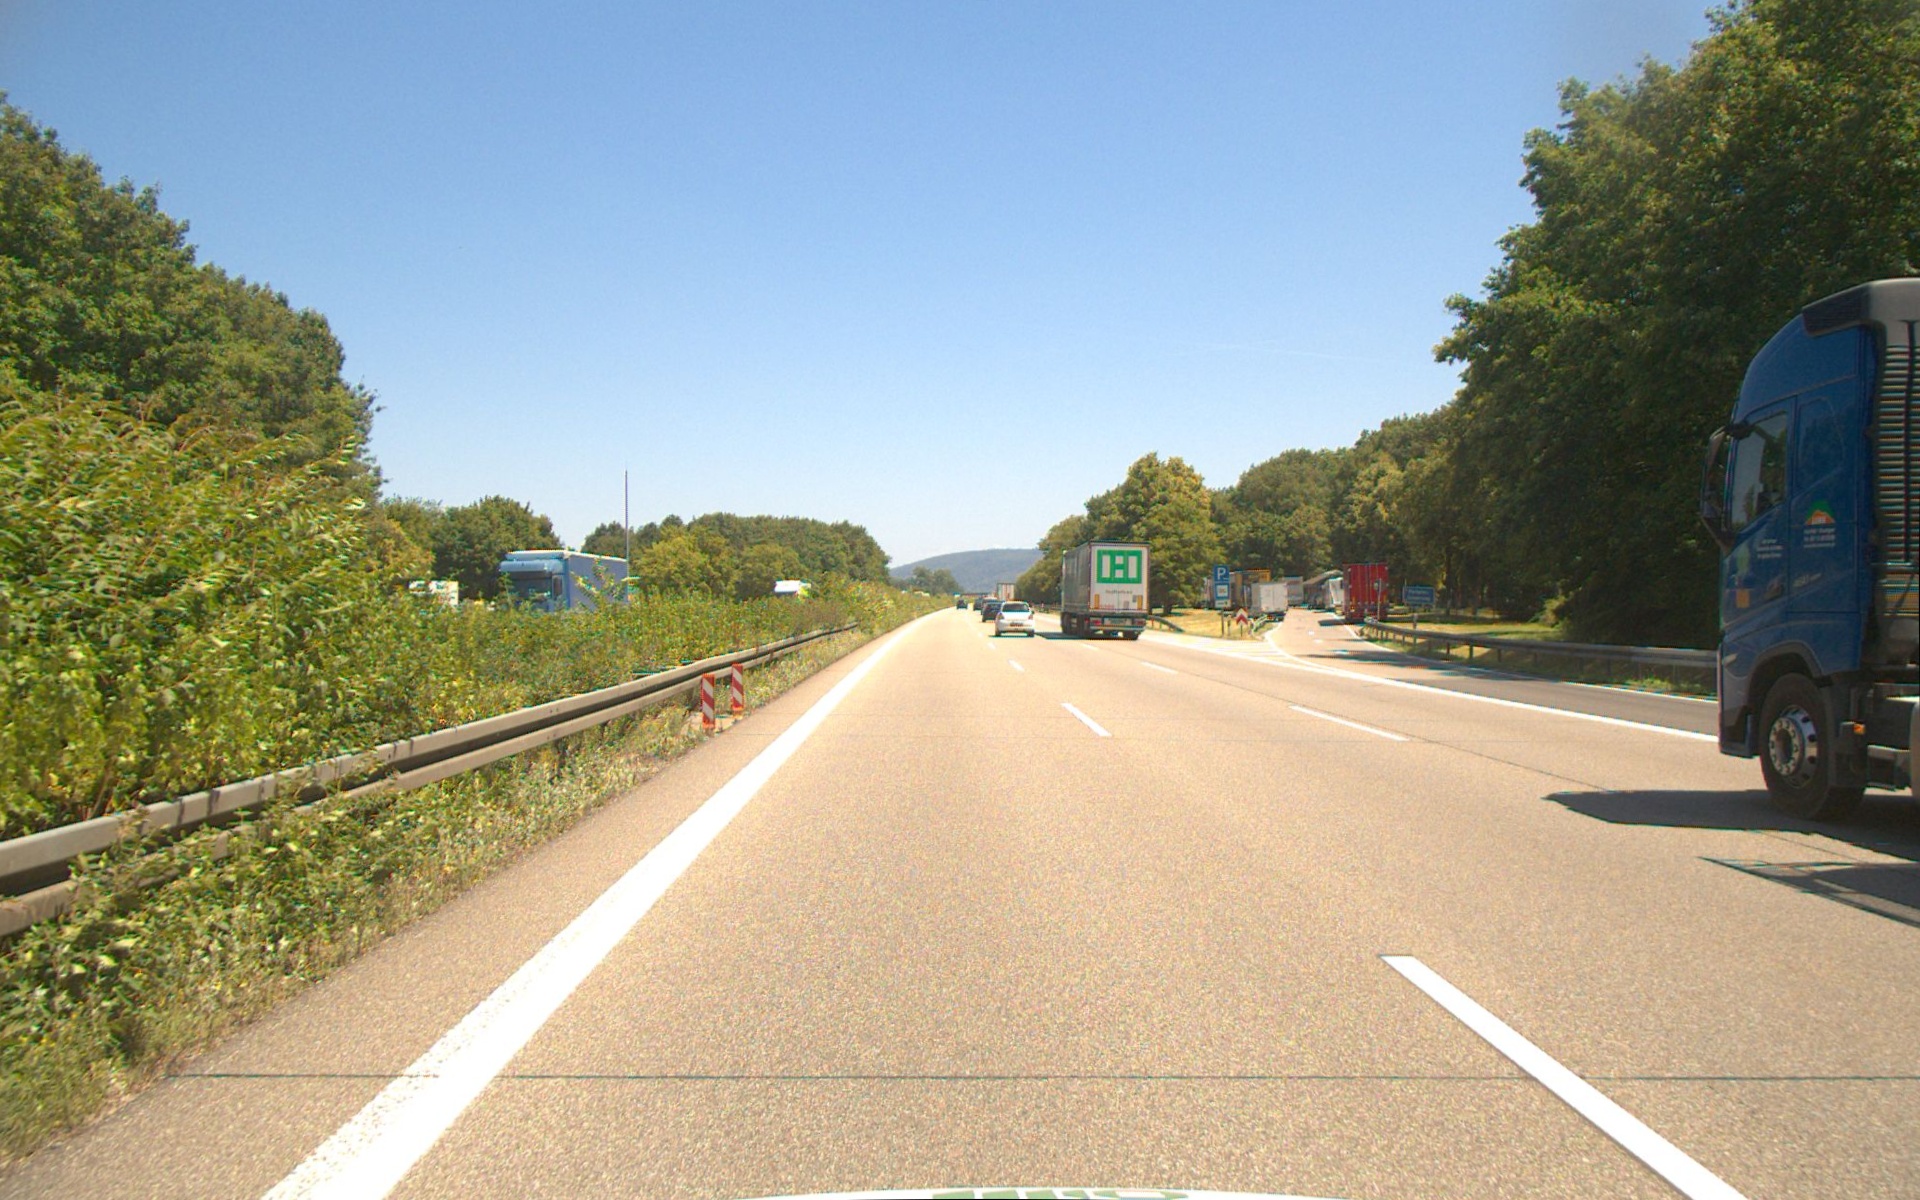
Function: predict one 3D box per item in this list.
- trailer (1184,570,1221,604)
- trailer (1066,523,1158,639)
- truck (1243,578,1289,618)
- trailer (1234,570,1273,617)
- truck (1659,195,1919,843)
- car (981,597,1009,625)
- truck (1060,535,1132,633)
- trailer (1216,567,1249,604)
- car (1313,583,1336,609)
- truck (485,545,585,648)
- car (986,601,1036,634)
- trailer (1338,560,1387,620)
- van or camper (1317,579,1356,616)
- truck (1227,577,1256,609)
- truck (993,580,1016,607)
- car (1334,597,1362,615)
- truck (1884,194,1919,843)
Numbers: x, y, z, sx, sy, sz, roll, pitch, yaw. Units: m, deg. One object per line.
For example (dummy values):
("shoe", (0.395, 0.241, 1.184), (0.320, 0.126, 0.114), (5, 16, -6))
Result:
("trailer", (29.731, -1.581, 203.213), (3.070, 4.021, 14.201), (-1, 0, 3))
("trailer", (6.564, -0.760, 73.289), (3.116, 4.708, 12.051), (0, 0, 1))
("truck", (23.653, -0.115, 128.032), (2.416, 2.997, 7.661), (0, 0, 2))
("trailer", (25.842, -0.546, 145.902), (3.116, 4.004, 11.560), (0, 0, 9))
("truck", (7.273, -0.503, 12.300), (2.399, 4.108, 4.071), (1, 0, 0))
("car", (2.599, 0.803, 121.165), (1.857, 1.926, 4.002), (-1, 0, 3))
("truck", (6.658, -0.757, 81.922), (3.117, 4.688, 5.947), (0, 0, 0))
("trailer", (30.058, -1.531, 182.912), (3.036, 3.856, 13.372), (1, 0, 7))
("car", (36.669, -0.411, 166.529), (1.951, 2.482, 4.784), (-1, 0, 9))
("truck", (-17.554, -0.143, 68.648), (2.760, 4.041, 5.871), (-1, 0, -2))
("car", (2.246, 0.762, 73.239), (1.776, 1.429, 3.313), (0, 0, -6))
("trailer", (28.100, -0.656, 115.830), (2.915, 3.946, 12.899), (-1, 0, 12))
("van or camper", (34.520, -0.242, 151.773), (2.934, 3.291, 7.006), (-1, 0, 8))
("truck", (28.916, -0.708, 170.056), (2.416, 3.140, 6.621), (1, 0, 6))
("truck", (6.739, -0.948, 249.703), (3.257, 3.822, 12.796), (1, 0, 1))
("car", (32.714, 0.508, 139.456), (1.951, 1.476, 5.038), (-1, 0, 9))
("truck", (7.299, -0.518, 5.610), (2.393, 4.114, 10.540), (1, 0, 0))
